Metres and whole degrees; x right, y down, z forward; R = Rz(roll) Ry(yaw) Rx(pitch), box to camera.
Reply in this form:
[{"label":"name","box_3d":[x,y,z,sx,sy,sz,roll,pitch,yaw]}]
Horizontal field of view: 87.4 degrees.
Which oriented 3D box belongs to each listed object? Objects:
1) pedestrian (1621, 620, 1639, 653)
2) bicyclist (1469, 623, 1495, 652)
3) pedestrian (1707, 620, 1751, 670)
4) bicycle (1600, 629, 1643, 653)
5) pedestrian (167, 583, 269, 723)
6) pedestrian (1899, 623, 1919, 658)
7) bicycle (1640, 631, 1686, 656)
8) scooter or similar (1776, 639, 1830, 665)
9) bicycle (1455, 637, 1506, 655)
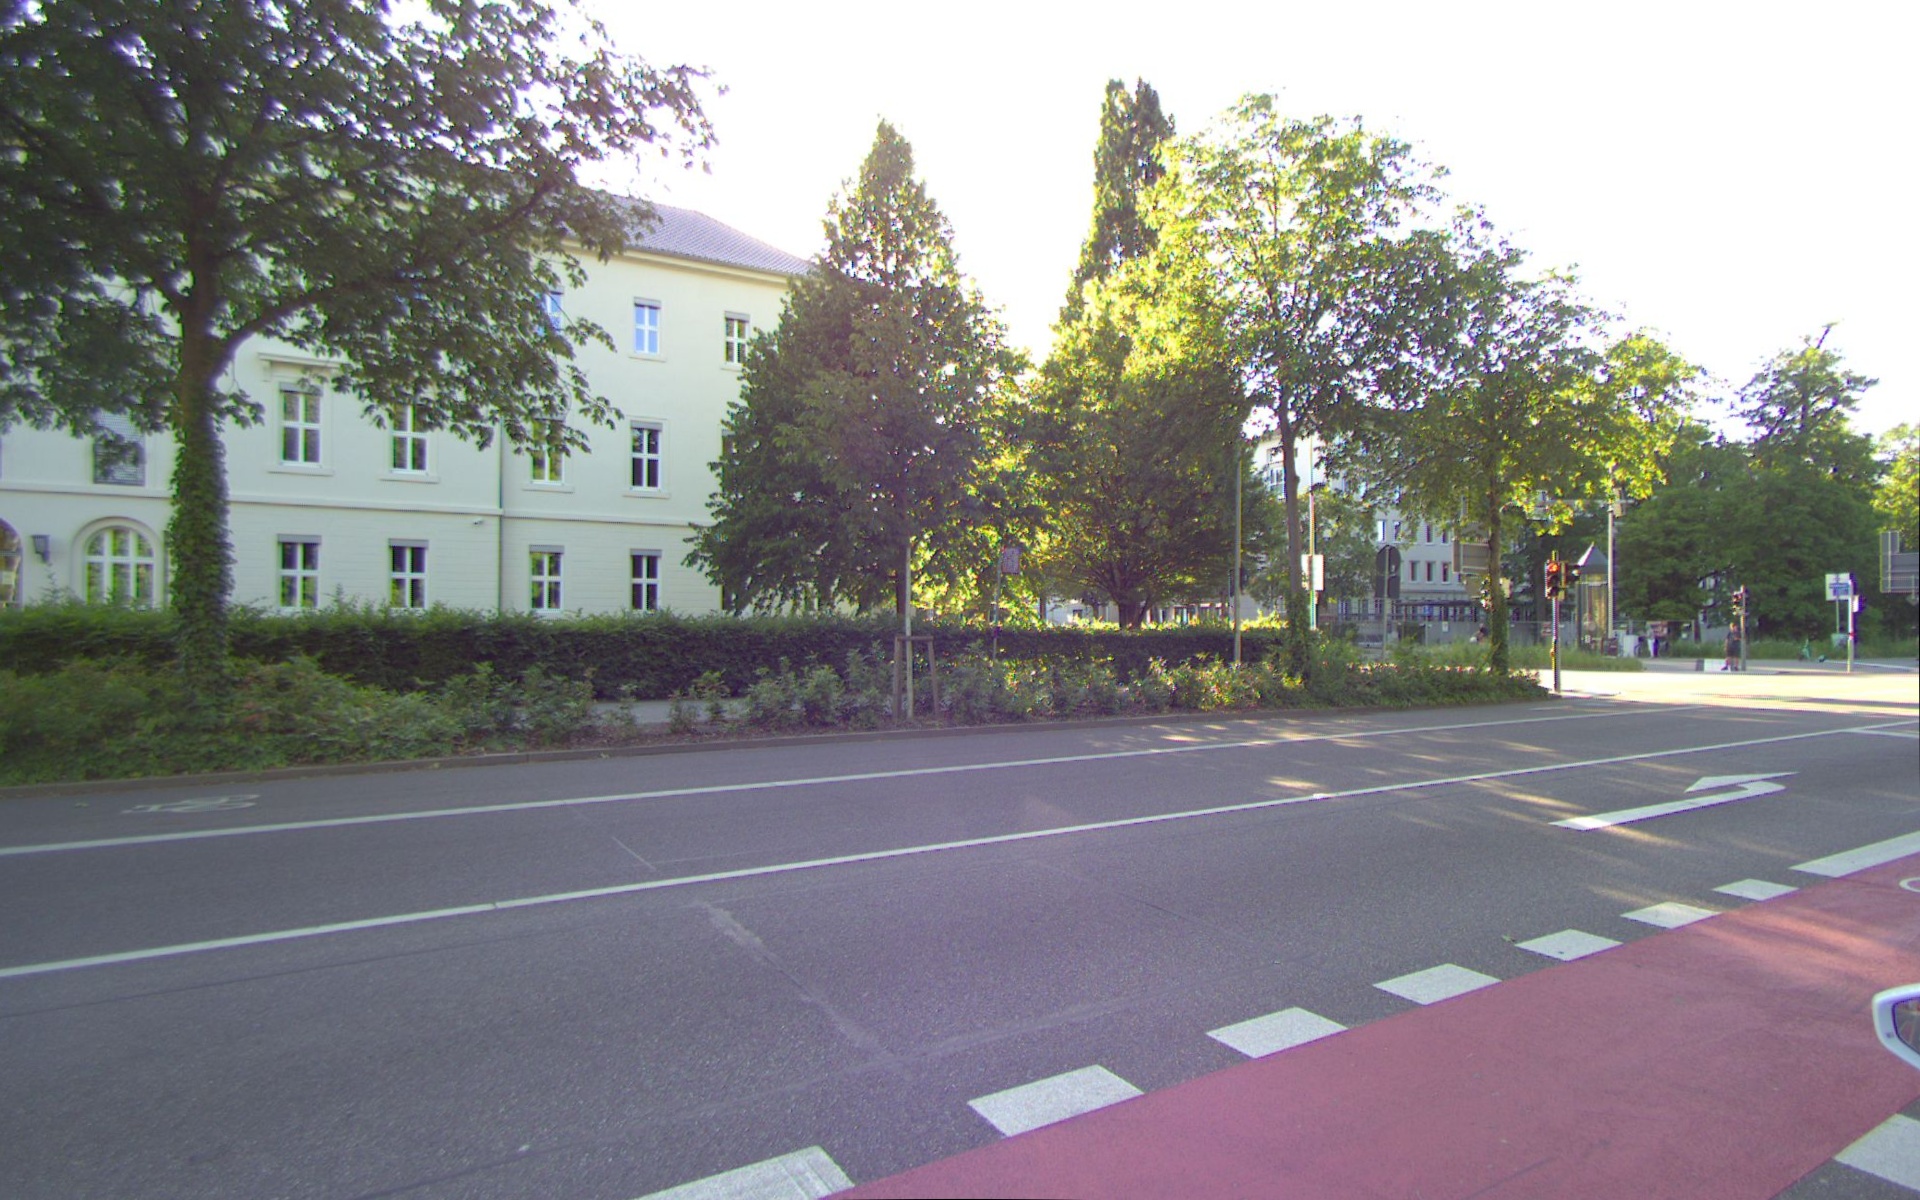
[{"label":"pedestrian","box_3d":[34.128,1.862,51.145,0.441,1.664,0.625,1,0,-33]},{"label":"bicyclist","box_3d":[29.561,2.111,56.883,0.867,1.627,0.970,1,-2,-29]},{"label":"pedestrian","box_3d":[31.923,1.850,41.718,1.175,2.040,0.992,1,0,-25]},{"label":"bicycle","box_3d":[34.152,2.126,51.869,0.437,1.163,1.855,1,-1,-27]},{"label":"pedestrian","box_3d":[-9.667,0.681,13.131,0.957,1.743,0.830,1,-2,-30]},{"label":"pedestrian","box_3d":[45.764,1.932,48.017,0.992,1.624,1.080,1,-2,-36]},{"label":"bicycle","box_3d":[34.914,2.159,49.894,0.288,1.163,1.849,1,-1,-36]},{"label":"scooter or similar","box_3d":[39.176,2.419,46.684,1.882,1.139,0.713,1,0,3]},{"label":"bicycle","box_3d":[29.510,2.613,56.974,0.574,1.002,2.695,1,-2,-29]}]
